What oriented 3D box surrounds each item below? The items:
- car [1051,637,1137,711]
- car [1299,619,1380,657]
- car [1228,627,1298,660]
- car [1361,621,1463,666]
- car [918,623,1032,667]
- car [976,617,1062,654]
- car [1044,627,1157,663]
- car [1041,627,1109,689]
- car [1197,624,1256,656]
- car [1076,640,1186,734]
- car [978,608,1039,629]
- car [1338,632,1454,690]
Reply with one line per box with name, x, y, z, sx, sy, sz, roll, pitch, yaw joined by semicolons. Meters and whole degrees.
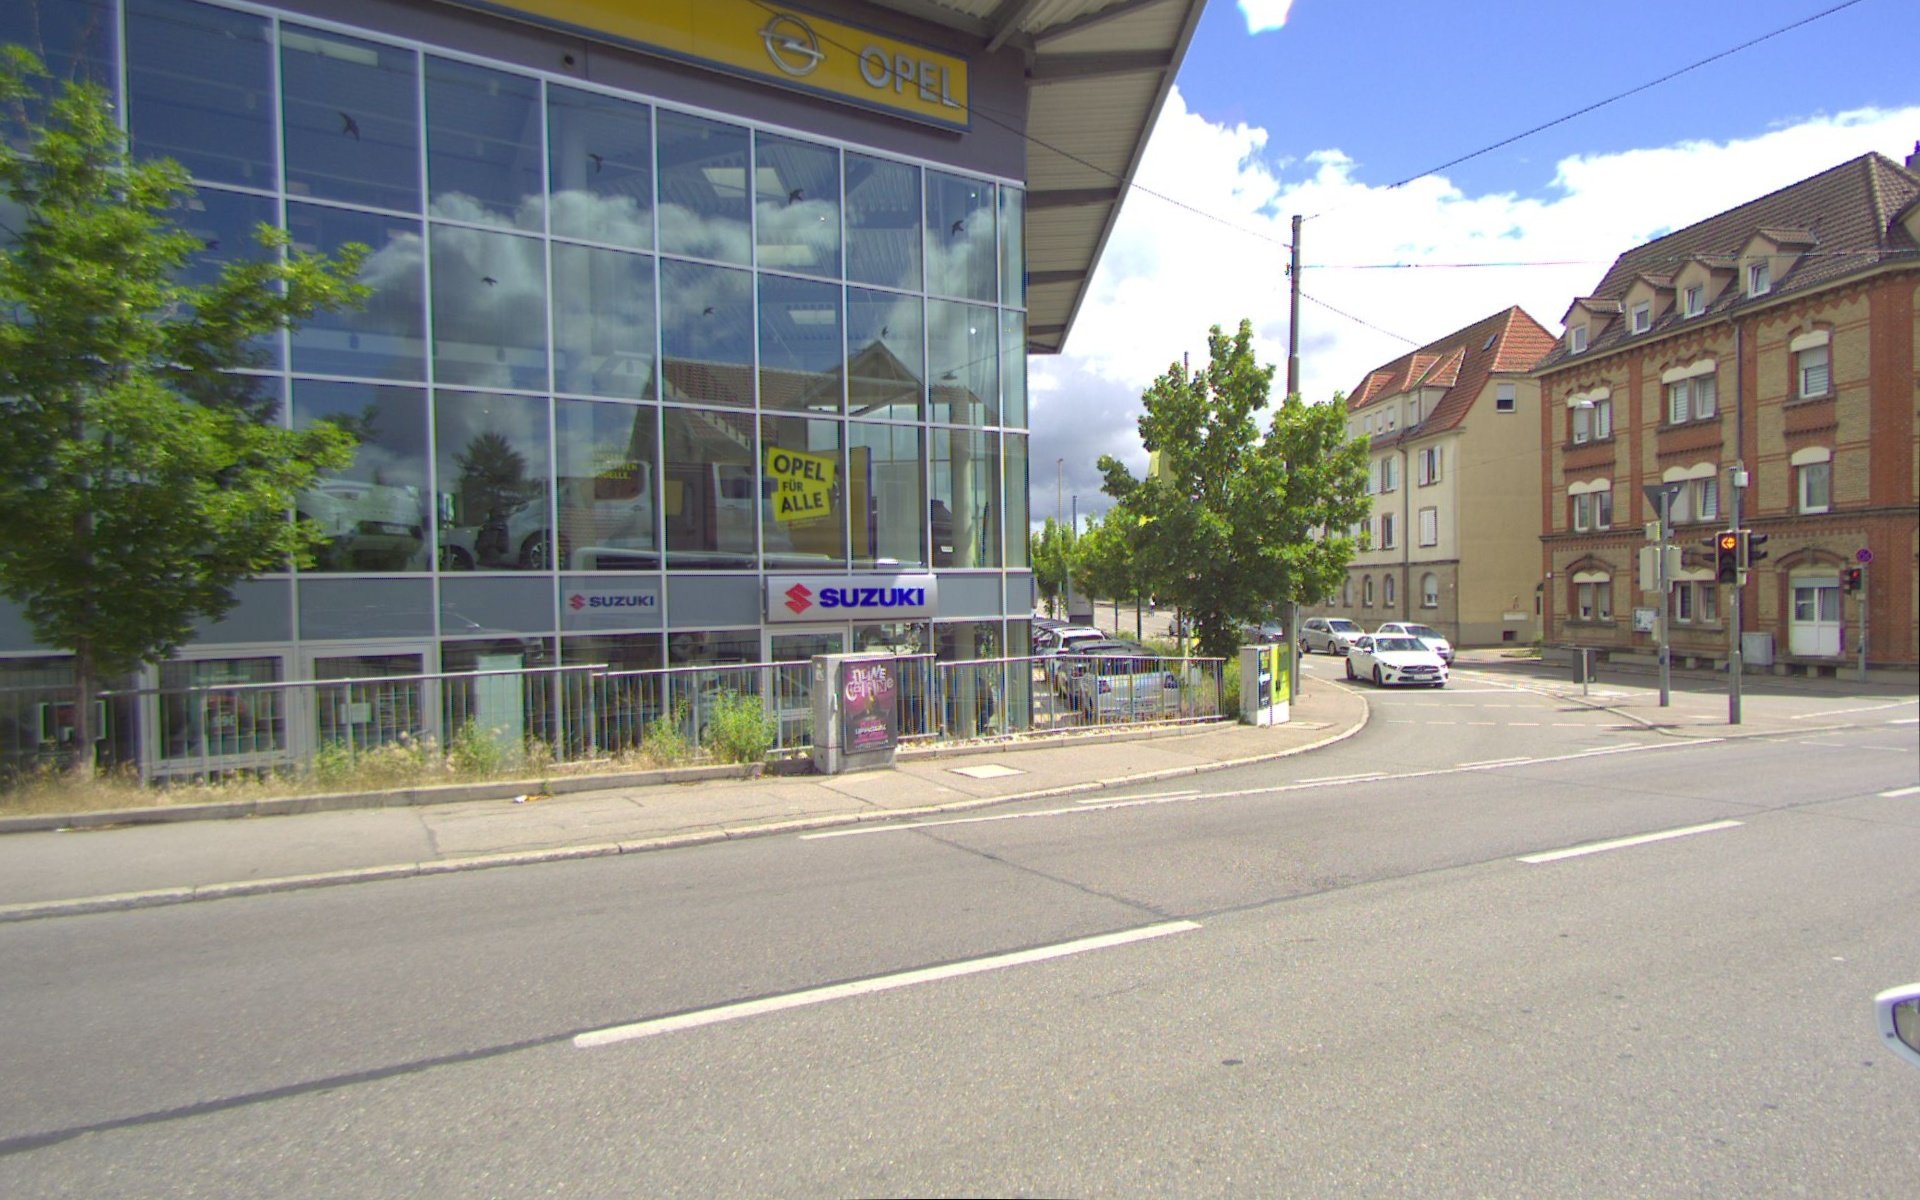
car;3.225;1.756;24.697;1.487;1.543;3.792;1;-1;-2
car;16.732;1.644;44.509;1.715;1.539;3.996;1;-1;-7
car;15.330;2.187;51.015;1.963;1.539;3.996;1;-1;-7
car;17.058;1.610;38.084;1.670;1.517;3.995;1;-1;-7
car;0.581;1.655;37.216;3.919;1.478;1.605;1;-1;15
car;2.644;1.588;45.866;1.974;1.599;4.476;1;-1;-26
car;5.162;1.635;37.207;3.921;1.202;1.818;1;-1;0
car;3.275;1.635;29.091;1.487;1.596;3.414;1;-1;-2
car;14.832;2.199;56.089;1.961;1.607;4.345;1;0;-2
car;3.389;1.690;20.548;1.720;1.596;3.687;2;-1;3
car;3.219;1.199;66.818;3.921;1.311;1.818;1;-1;0
car;12.363;1.686;28.770;1.825;1.466;4.394;1;-1;6
